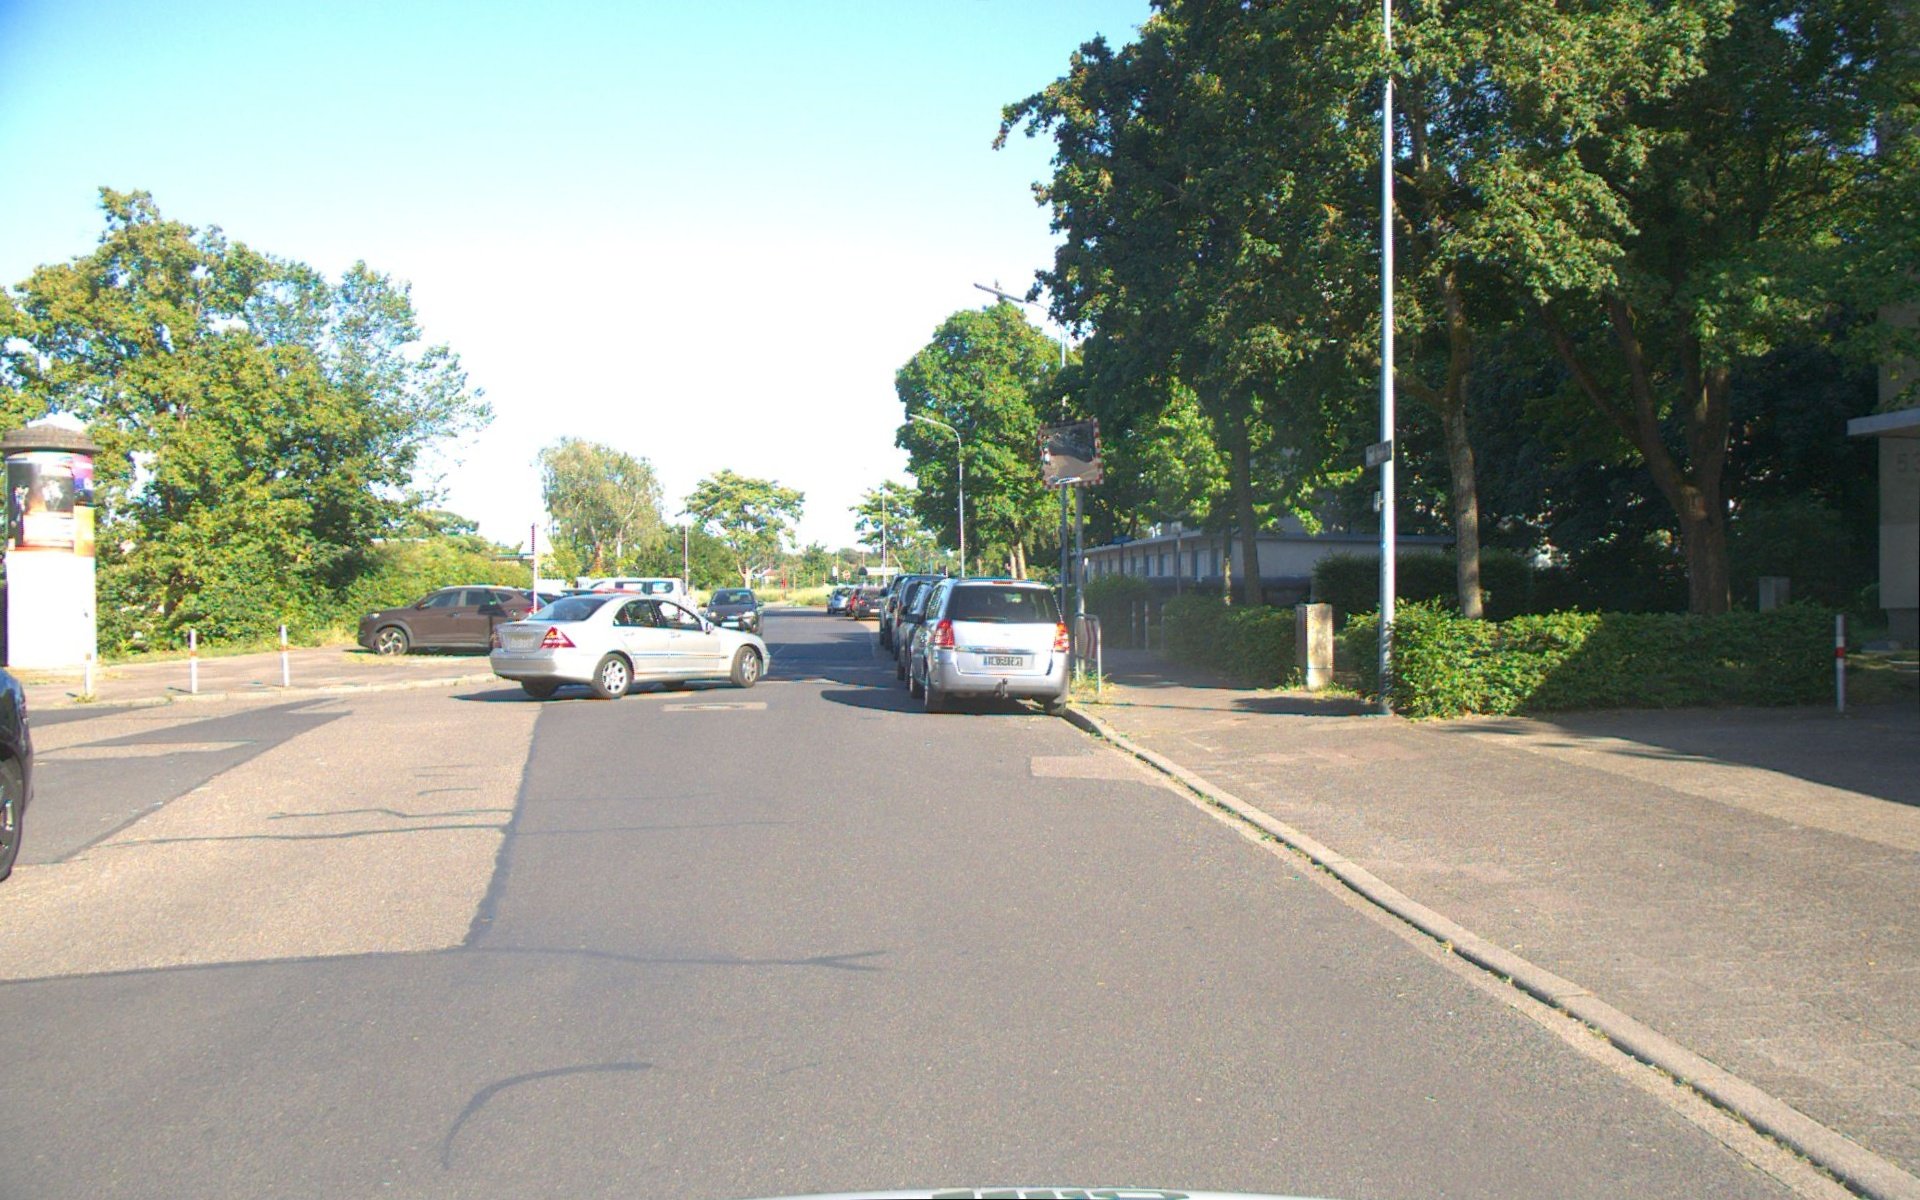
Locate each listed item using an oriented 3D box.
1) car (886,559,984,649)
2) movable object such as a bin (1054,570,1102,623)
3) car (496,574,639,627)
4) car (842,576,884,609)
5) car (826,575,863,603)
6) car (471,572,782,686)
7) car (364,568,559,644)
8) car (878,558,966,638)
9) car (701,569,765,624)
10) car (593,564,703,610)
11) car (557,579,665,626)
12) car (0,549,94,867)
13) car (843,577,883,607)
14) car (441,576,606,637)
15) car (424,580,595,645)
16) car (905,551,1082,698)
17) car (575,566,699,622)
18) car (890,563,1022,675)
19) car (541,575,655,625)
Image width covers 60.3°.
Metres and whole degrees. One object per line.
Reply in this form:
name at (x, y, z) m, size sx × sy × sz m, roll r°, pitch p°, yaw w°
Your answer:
car at (-0.615, 0.031, 36.605) m, size 1.798 × 1.822 × 4.550 m, roll 1°, pitch 1°, yaw -5°
movable object such as a bin at (3.173, -0.086, 44.313) m, size 1.223 × 1.371 × 1.053 m, roll -1°, pitch -1°, yaw 7°
car at (-11.758, 0.007, 49.756) m, size 3.909 × 1.505 × 1.789 m, roll 1°, pitch 1°, yaw -5°
car at (-4.459, -0.351, 75.785) m, size 1.616 × 1.427 × 3.875 m, roll -2°, pitch 0°, yaw -8°
car at (-6.514, -0.610, 93.059) m, size 1.700 × 1.570 × 3.779 m, roll 0°, pitch 0°, yaw -11°
car at (-4.737, 0.348, 24.044) m, size 1.787 × 1.489 × 4.341 m, roll 1°, pitch 1°, yaw 38°
car at (-11.696, 0.140, 39.033) m, size 4.107 × 1.685 × 1.844 m, roll 1°, pitch 0°, yaw -7°
car at (-1.027, -0.100, 41.798) m, size 1.869 × 1.872 × 5.269 m, roll 1°, pitch 1°, yaw -5°
car at (-7.028, -0.099, 51.427) m, size 1.617 × 1.583 × 3.998 m, roll -2°, pitch 0°, yaw -4°
car at (-13.880, -0.565, 73.899) m, size 4.699 × 1.954 × 2.078 m, roll 1°, pitch 0°, yaw -8°
car at (-12.467, 0.083, 59.174) m, size 3.531 × 1.594 × 1.850 m, roll 1°, pitch 1°, yaw -5°
car at (-5.649, 0.613, 7.065) m, size 1.745 × 1.601 × 4.420 m, roll -3°, pitch 1°, yaw -4°
car at (-4.899, -0.410, 83.237) m, size 1.547 × 1.471 × 3.779 m, roll 0°, pitch 0°, yaw -11°
car at (-11.606, 0.171, 44.198) m, size 4.014 × 1.539 × 1.810 m, roll 1°, pitch 0°, yaw -6°
car at (-11.385, 0.323, 42.009) m, size 3.910 × 1.559 × 1.829 m, roll 1°, pitch 0°, yaw -6°
car at (0.316, 0.289, 21.033) m, size 1.734 × 1.638 × 4.367 m, roll 1°, pitch 0°, yaw -6°
car at (-12.123, -0.205, 62.327) m, size 4.392 × 2.011 × 1.998 m, roll 1°, pitch 0°, yaw -6°
car at (-0.138, 0.268, 26.416) m, size 1.769 × 1.621 × 4.019 m, roll 1°, pitch 0°, yaw -5°
car at (-12.367, -0.008, 56.670) m, size 3.531 × 1.594 × 1.880 m, roll 1°, pitch 1°, yaw -5°
